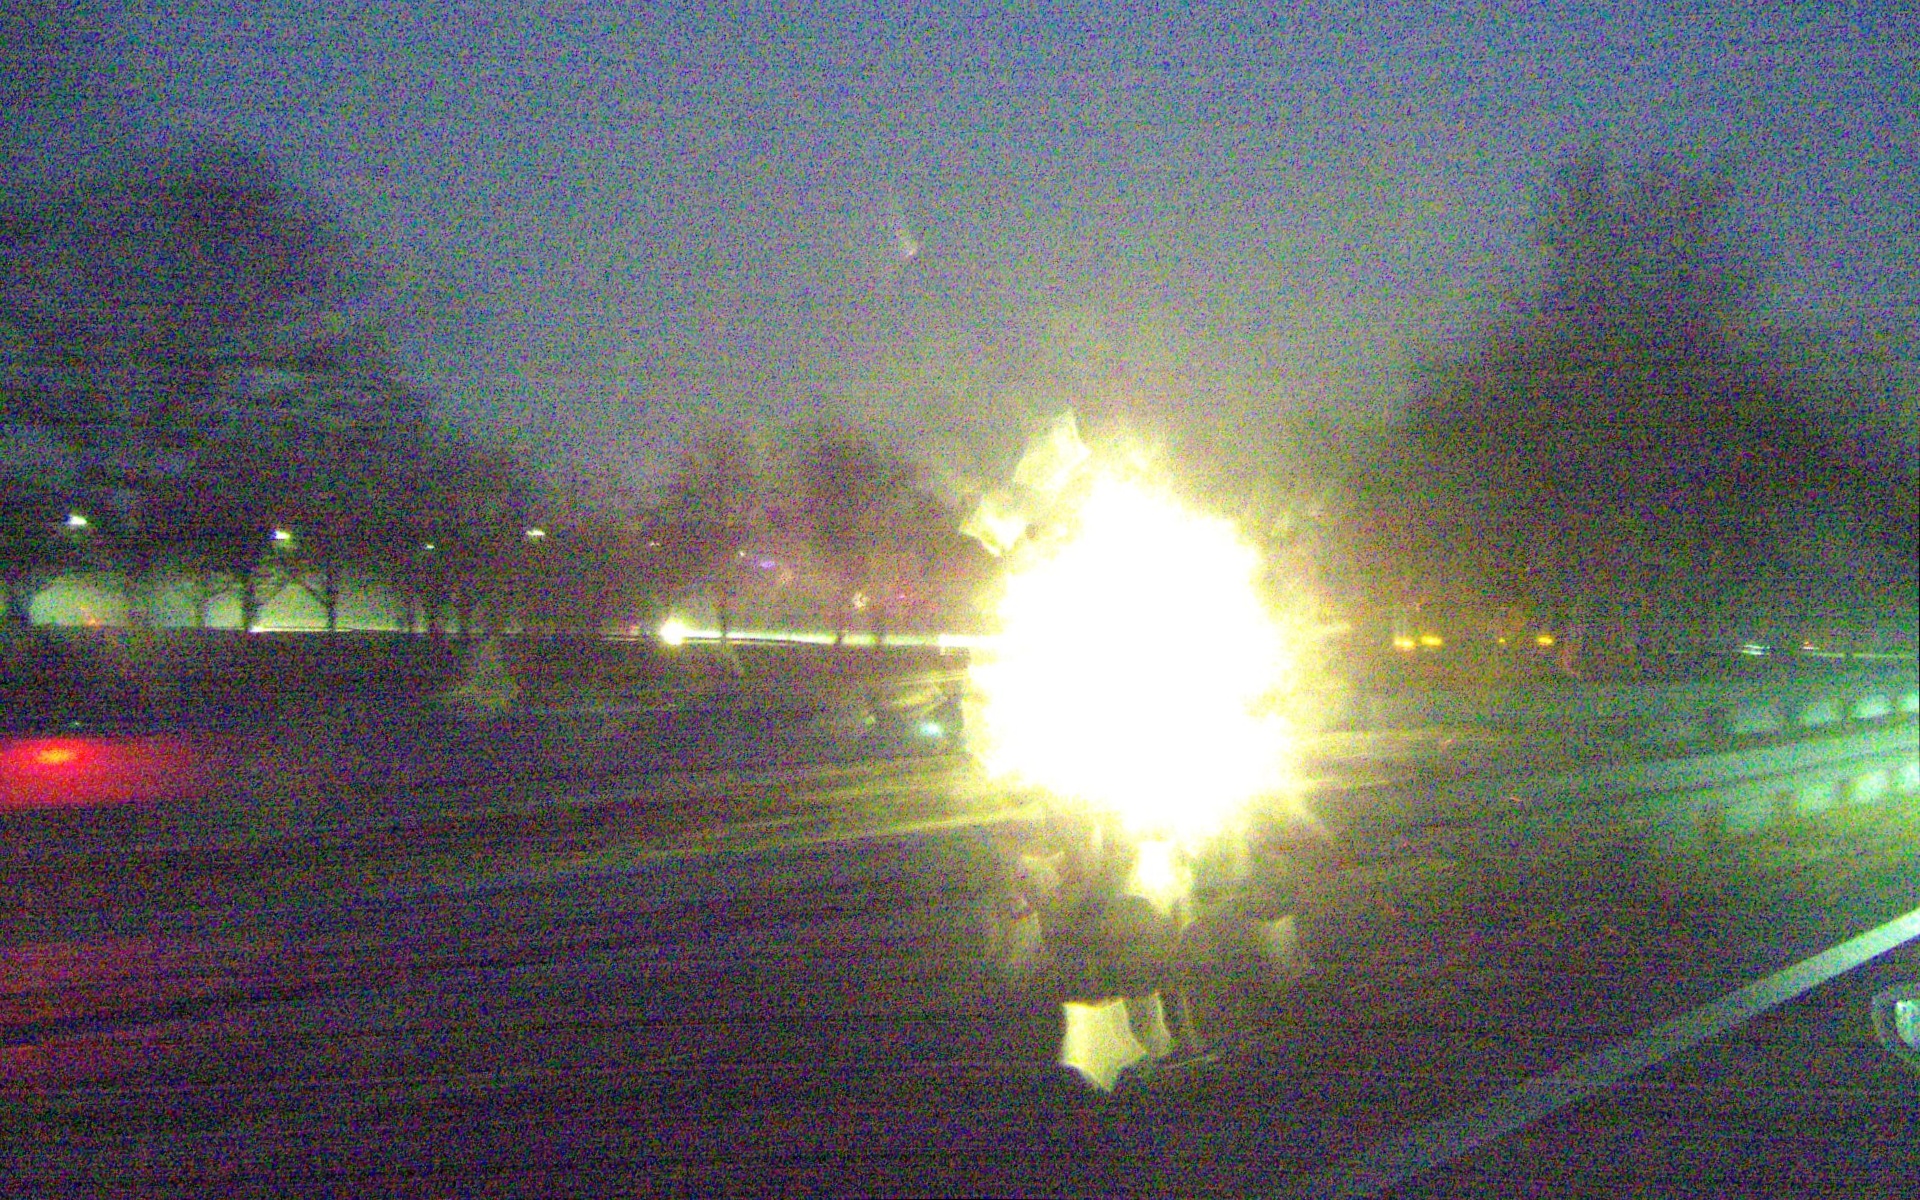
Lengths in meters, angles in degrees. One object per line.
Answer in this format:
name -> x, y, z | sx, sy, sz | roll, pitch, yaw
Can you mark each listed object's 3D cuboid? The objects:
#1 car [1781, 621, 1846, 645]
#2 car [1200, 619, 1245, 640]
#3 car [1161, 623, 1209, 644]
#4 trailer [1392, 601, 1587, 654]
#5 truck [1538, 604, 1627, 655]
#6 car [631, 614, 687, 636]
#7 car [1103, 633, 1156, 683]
car -> 75.605, 2.901, 89.042 | 3.919, 2.041, 1.973 | 1, 1, 14
car -> 26.555, 2.986, 101.836 | 4.380, 2.041, 2.001 | 1, 1, 14
car -> 19.208, 2.843, 85.780 | 3.919, 1.639, 2.001 | 1, 0, 11
trailer -> 41.848, 2.081, 79.912 | 13.378, 3.775, 2.601 | 1, 1, 17
truck -> 48.250, 2.211, 78.024 | 5.349, 3.761, 2.597 | 1, 1, 16
car -> -29.280, 2.434, 97.743 | 4.915, 2.041, 2.001 | 1, 1, 13
car -> 6.515, 2.183, 38.960 | 1.724, 1.662, 4.002 | 1, 0, 5
